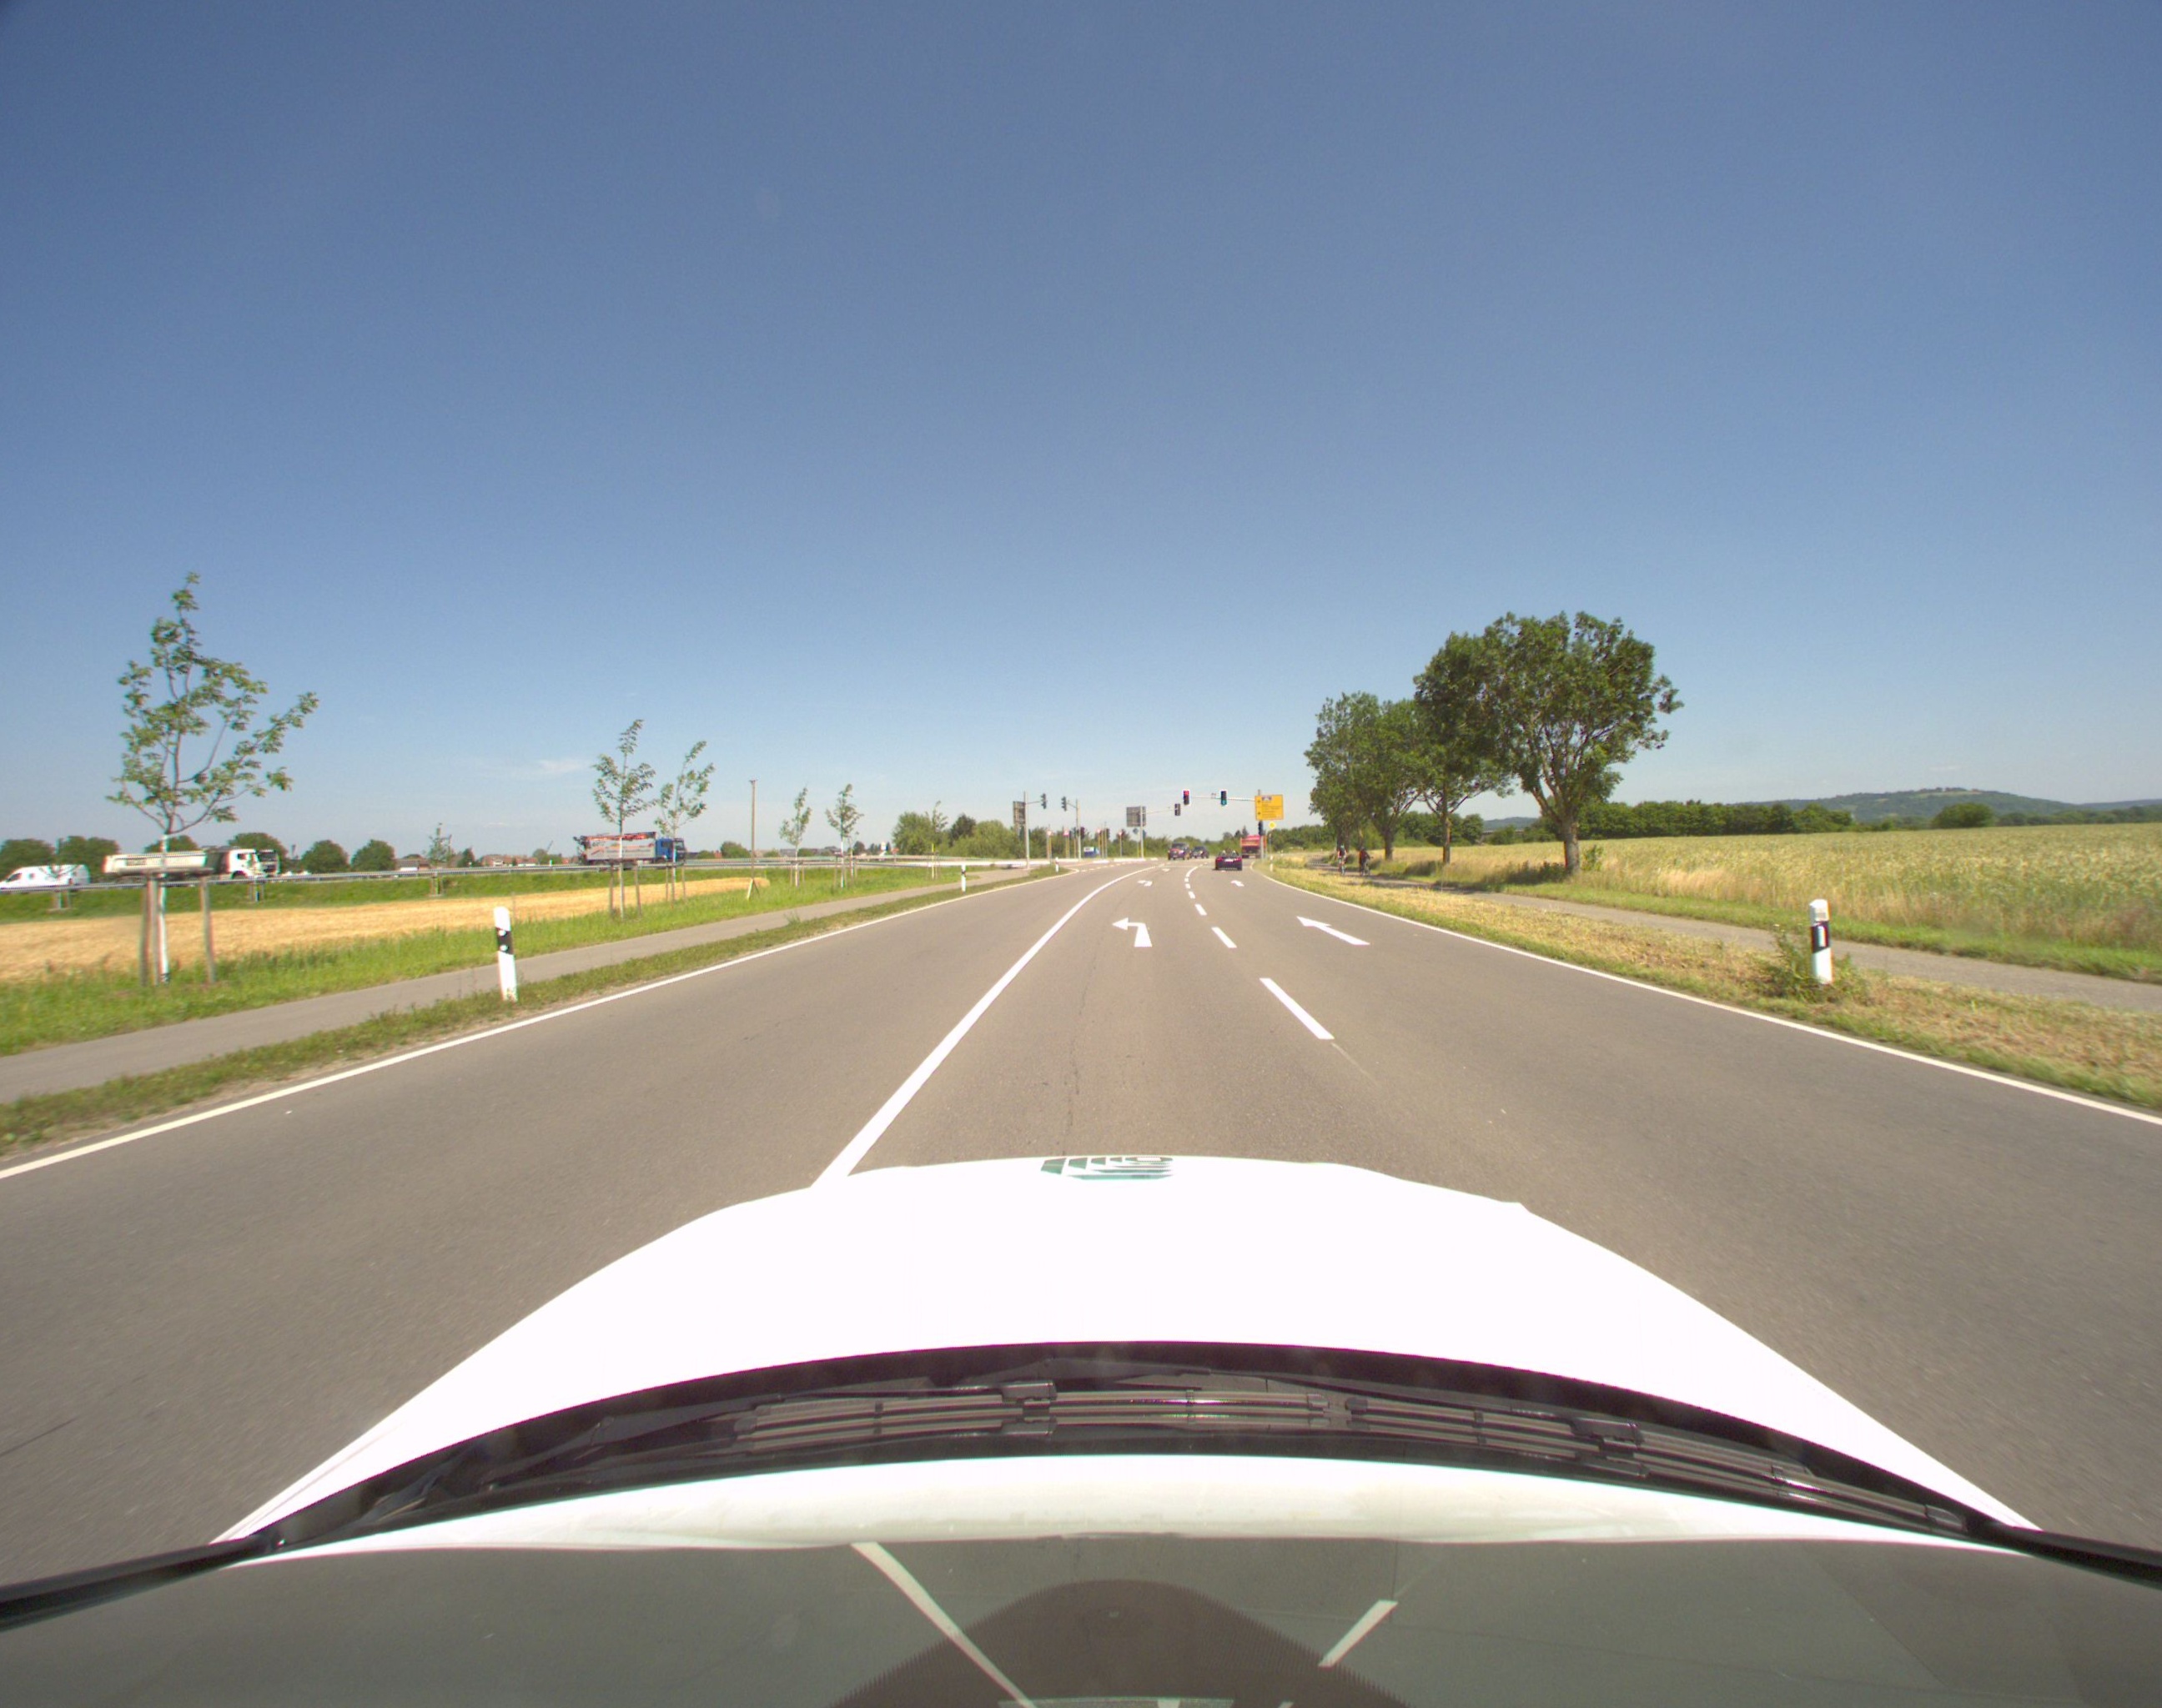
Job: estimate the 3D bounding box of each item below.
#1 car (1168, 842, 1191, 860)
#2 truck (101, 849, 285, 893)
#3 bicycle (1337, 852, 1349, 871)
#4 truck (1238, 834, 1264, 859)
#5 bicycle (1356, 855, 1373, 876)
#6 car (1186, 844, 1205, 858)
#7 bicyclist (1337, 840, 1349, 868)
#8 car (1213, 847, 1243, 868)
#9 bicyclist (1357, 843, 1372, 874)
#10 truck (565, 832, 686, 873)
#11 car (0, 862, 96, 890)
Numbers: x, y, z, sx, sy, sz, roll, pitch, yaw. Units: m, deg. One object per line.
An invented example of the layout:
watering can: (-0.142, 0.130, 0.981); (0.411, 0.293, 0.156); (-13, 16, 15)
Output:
car: (11.207, -0.386, 92.084); (1.916, 1.978, 4.703); (-1, 1, 15)
truck: (-79.592, 1.492, 73.204); (11.979, 3.614, 2.975); (-1, 0, -7)
bicycle: (16.468, 0.472, 51.252); (0.601, 1.176, 2.060); (2, 1, 16)
truck: (22.601, -0.935, 107.945); (2.693, 3.053, 8.199); (-1, -1, 16)
bicycle: (16.596, 0.671, 47.751); (0.694, 1.210, 2.058); (1, 0, 12)
car: (14.911, -0.377, 105.808); (1.917, 1.739, 4.907); (-1, 1, 14)
bicyclist: (16.497, 0.008, 51.292); (0.583, 1.734, 1.177); (3, 1, 16)
car: (9.841, 0.245, 54.270); (1.735, 1.376, 3.692); (0, -1, 14)
bicyclist: (16.630, 0.240, 47.757); (0.623, 1.782, 0.981); (3, 1, 12)
truck: (-44.340, -0.138, 79.480); (10.053, 3.793, 2.624); (-1, 0, -2)
car: (-97.353, 2.037, 76.420); (5.933, 2.421, 2.234); (-1, 0, -18)
